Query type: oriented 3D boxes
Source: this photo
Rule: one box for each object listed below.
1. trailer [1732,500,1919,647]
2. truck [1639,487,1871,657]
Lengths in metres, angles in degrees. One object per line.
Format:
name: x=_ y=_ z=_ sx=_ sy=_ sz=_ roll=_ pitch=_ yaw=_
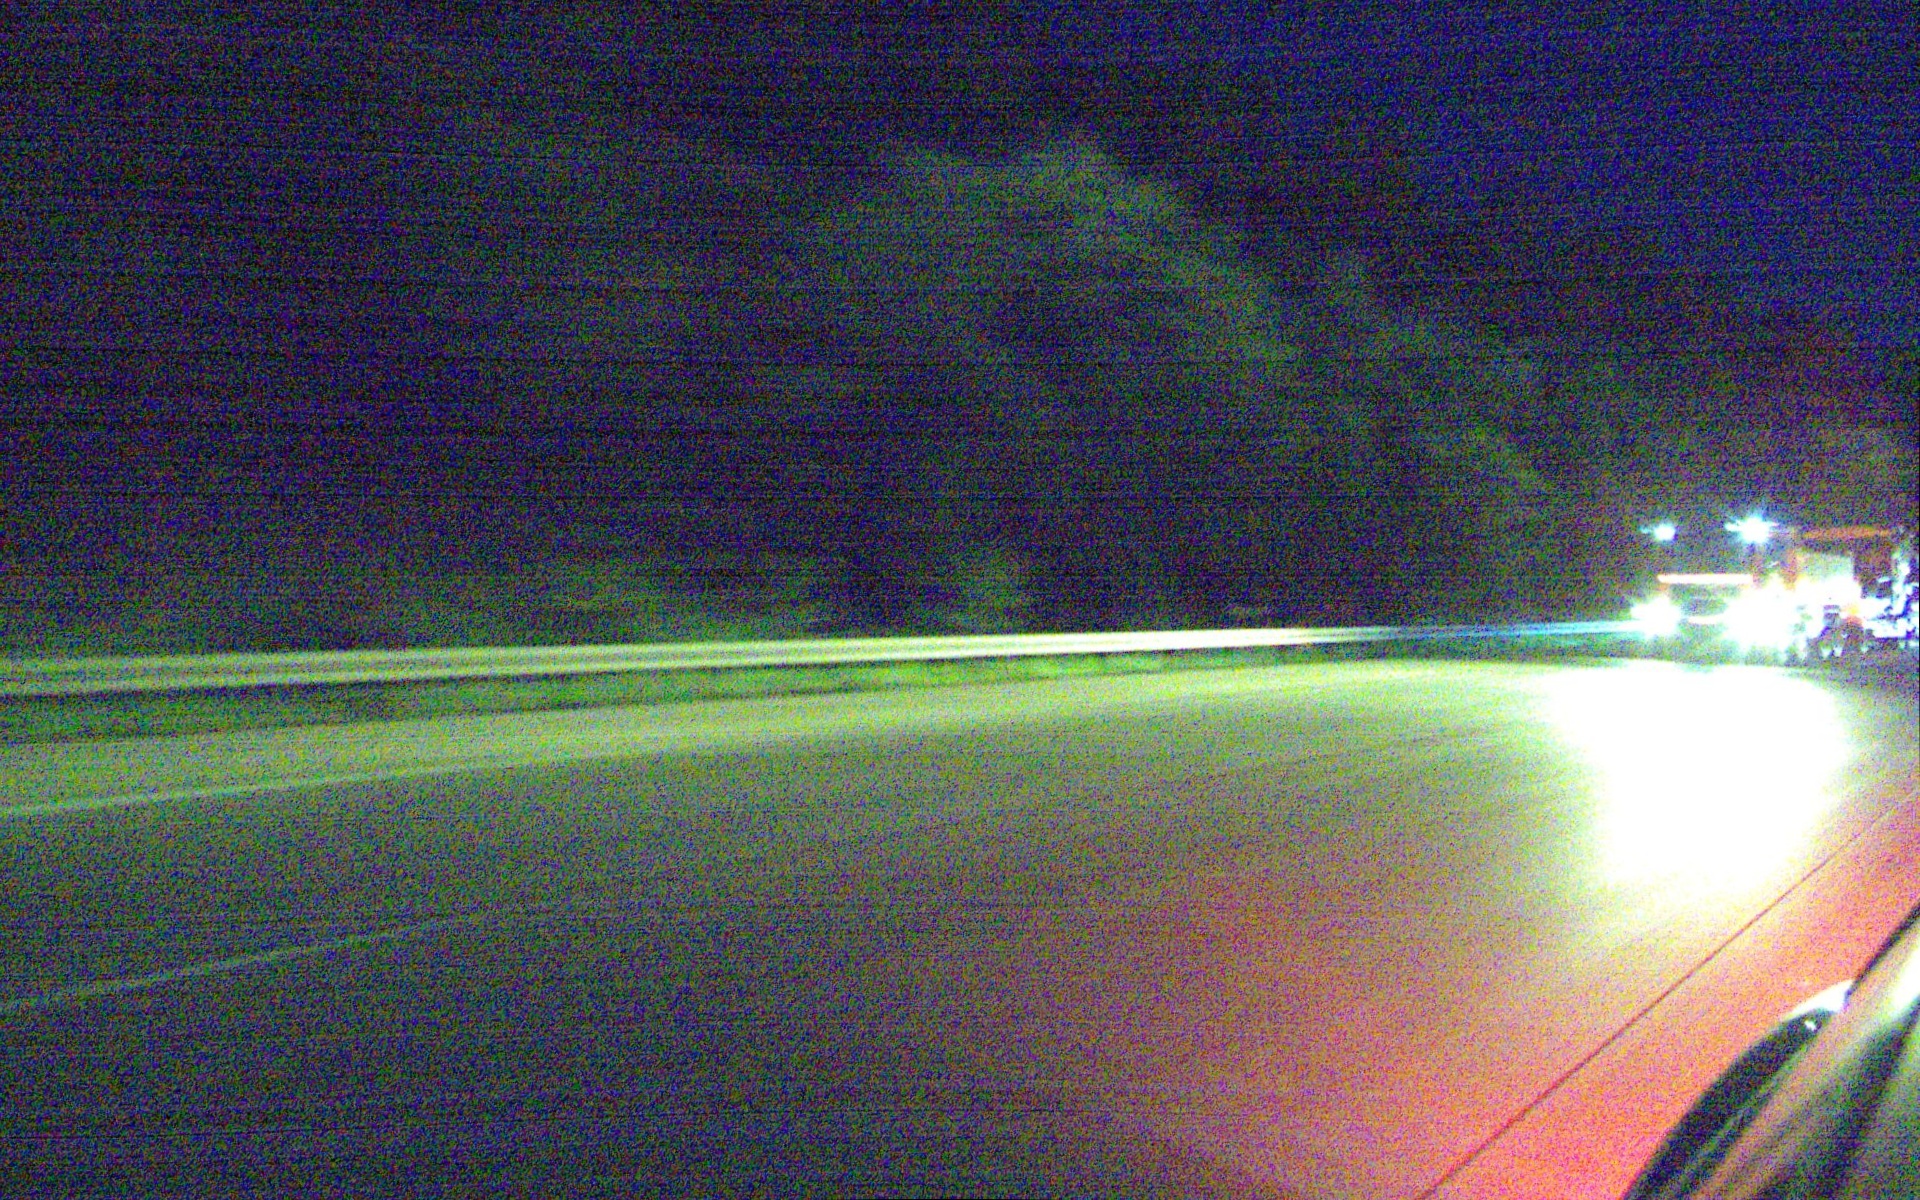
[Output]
trailer: x=28.632 y=-0.745 z=32.318 sx=12.646 sy=3.981 sz=2.882 roll=0 pitch=0 yaw=-36
truck: x=21.062 y=-0.632 z=26.628 sx=7.905 sy=3.889 sz=2.874 roll=0 pitch=-1 yaw=-37
